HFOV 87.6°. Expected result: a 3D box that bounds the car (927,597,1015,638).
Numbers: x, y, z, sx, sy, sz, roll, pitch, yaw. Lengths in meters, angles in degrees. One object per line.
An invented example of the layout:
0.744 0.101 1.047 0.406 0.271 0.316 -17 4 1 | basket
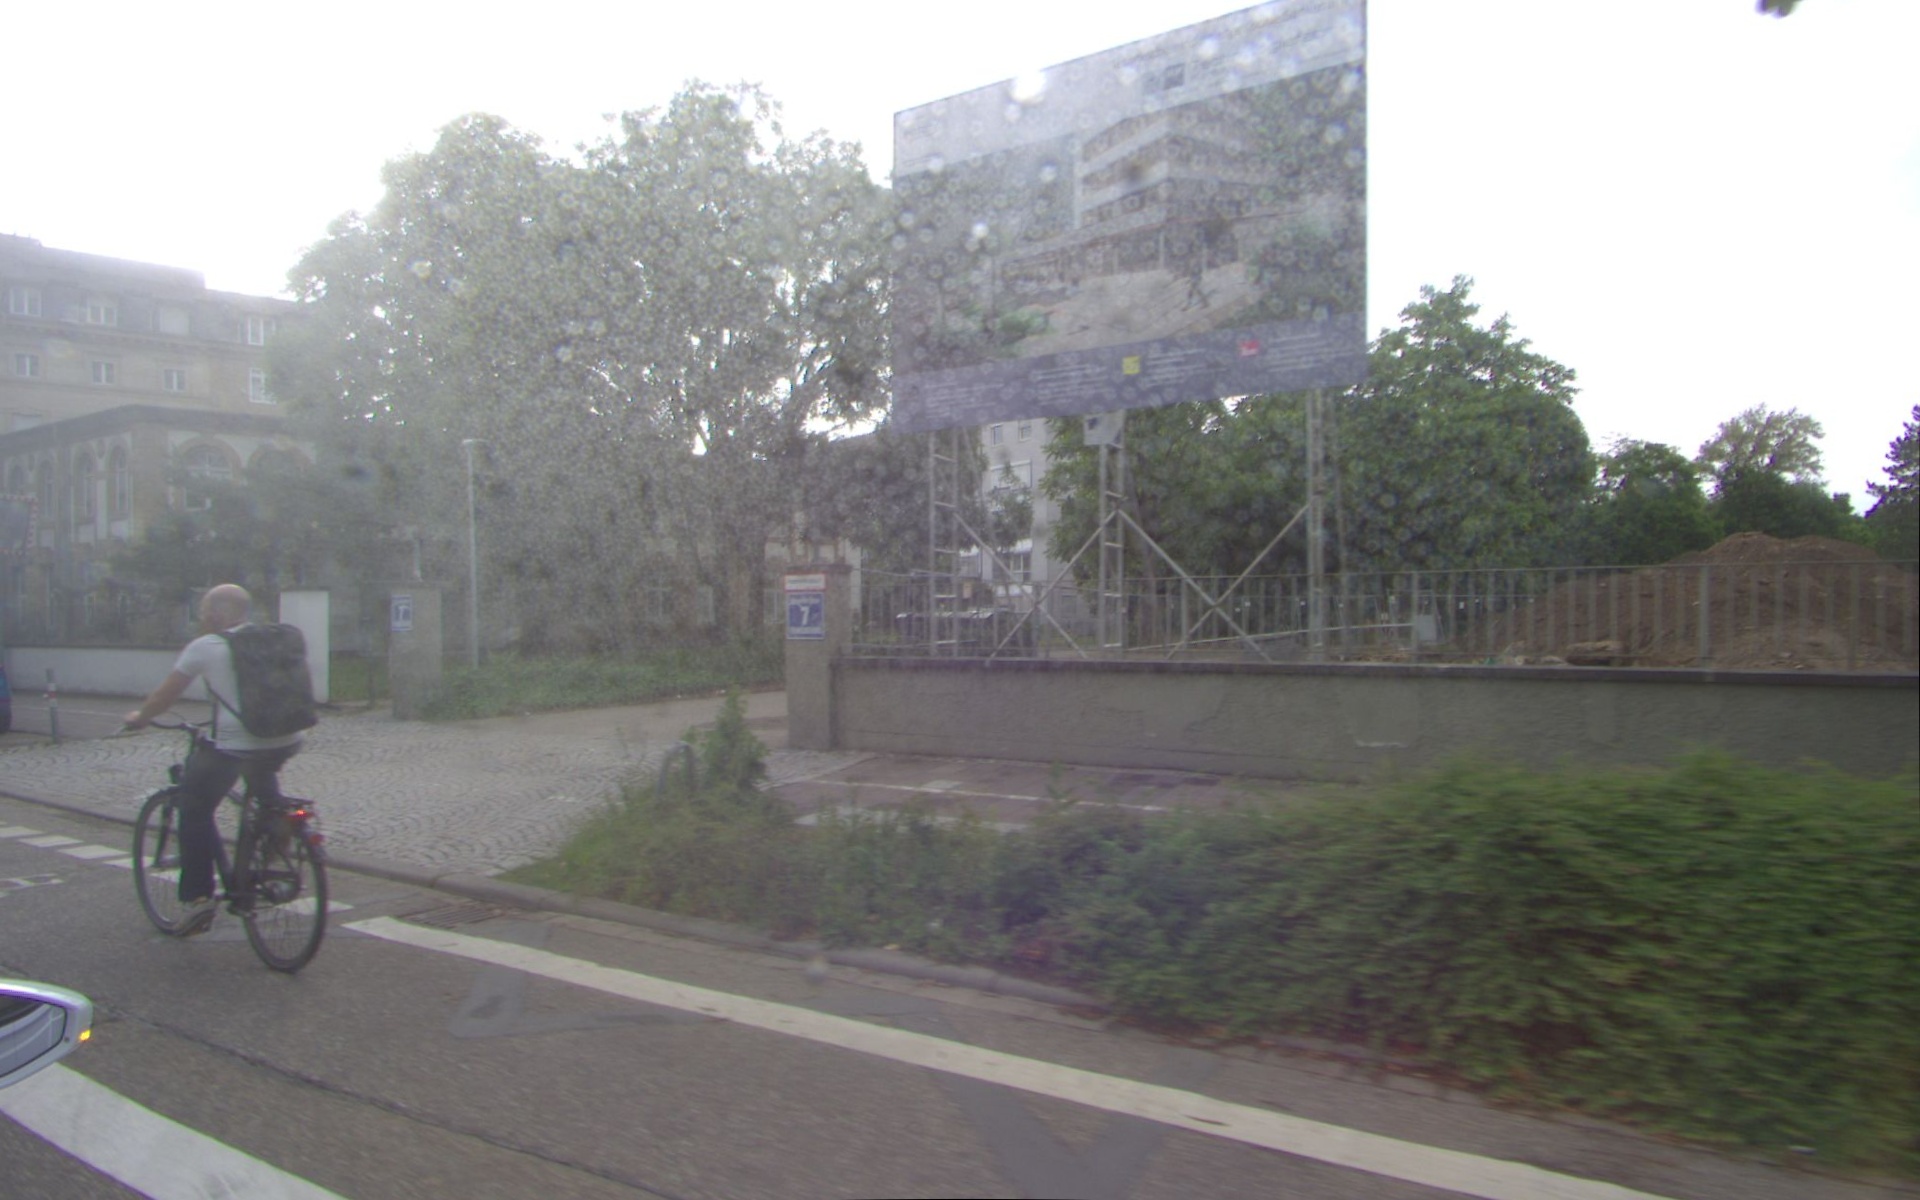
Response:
0.601 0.917 51.195 4.301 2.039 1.840 1 -2 -38 | car

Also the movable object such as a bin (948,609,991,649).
0.348 1.103 37.989 1.044 1.475 1.343 1 -1 -39 | movable object such as a bin

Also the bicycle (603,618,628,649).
-13.028 1.254 37.833 0.609 1.134 2.212 0 0 -27 | bicycle

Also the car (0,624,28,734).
-14.669 1.071 13.834 3.380 1.480 1.672 -1 -1 29 | car

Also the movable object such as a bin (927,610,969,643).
-0.483 1.034 39.168 1.044 1.281 1.343 0 0 -39 | movable object such as a bin

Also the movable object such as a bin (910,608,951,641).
-1.202 0.980 40.437 1.045 1.281 1.342 0 0 -42 | movable object such as a bin

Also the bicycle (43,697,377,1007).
-3.627 1.083 4.796 1.840 1.131 0.663 0 -2 33 | bicycle

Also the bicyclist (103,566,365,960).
-3.328 0.673 4.595 0.972 1.590 0.660 0 -1 33 | bicyclist

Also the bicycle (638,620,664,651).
-11.869 1.357 38.455 0.609 1.134 2.212 0 0 -27 | bicycle

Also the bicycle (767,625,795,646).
-7.427 1.472 41.496 0.609 0.824 1.936 0 -1 -27 | bicycle

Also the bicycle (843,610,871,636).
-4.476 0.994 43.444 0.391 1.079 1.816 0 0 -35 | bicycle

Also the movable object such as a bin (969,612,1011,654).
1.096 1.195 36.546 1.039 1.470 1.349 0 1 -25 | movable object such as a bin

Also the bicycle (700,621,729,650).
-9.806 1.397 39.952 0.609 1.134 2.212 0 0 -27 | bicycle
